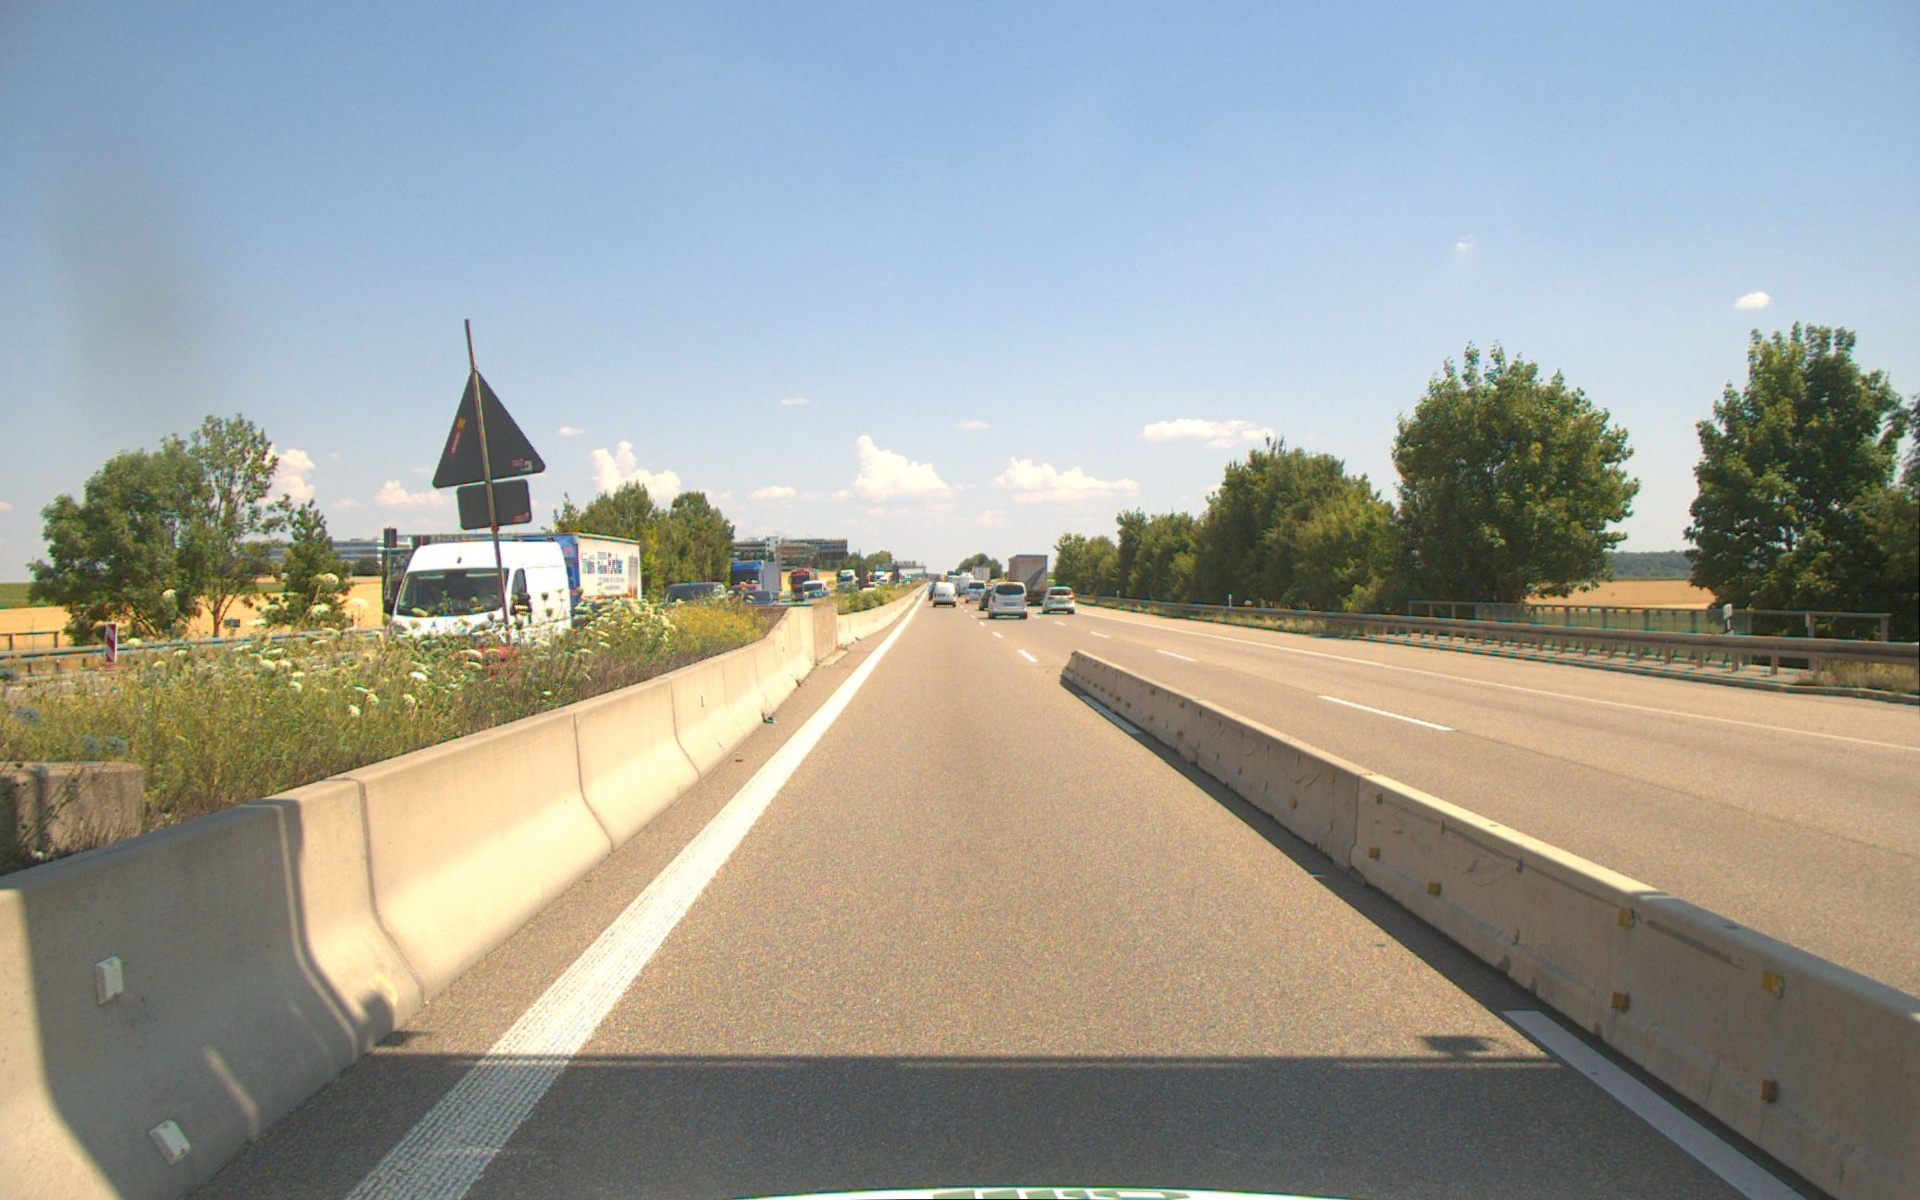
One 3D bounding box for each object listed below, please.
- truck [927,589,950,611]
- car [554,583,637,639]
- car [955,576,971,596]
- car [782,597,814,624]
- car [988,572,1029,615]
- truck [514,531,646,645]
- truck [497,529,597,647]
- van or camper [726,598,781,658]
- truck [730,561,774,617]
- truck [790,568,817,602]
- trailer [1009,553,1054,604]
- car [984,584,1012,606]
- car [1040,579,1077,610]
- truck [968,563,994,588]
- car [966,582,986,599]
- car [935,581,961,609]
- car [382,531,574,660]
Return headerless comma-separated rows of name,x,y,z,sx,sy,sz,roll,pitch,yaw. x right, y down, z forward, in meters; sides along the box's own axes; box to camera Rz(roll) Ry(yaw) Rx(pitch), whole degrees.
truck,-2.125,0.005,165.057,2.167,2.049,4.970,-1,1,-2
car,-11.704,0.316,53.383,1.851,1.683,4.094,-1,1,-2
car,0.351,-1.668,198.195,1.737,2.434,3.999,0,0,-1
car,-10.159,0.659,104.021,1.650,1.593,4.561,-1,1,-2
car,2.472,-0.328,85.638,1.953,2.157,3.999,0,0,-1
truck,-16.224,-0.521,71.868,2.540,4.312,14.119,-3,0,-1
truck,-16.086,-0.464,64.776,2.540,4.312,4.853,-3,0,-1
van or camper,-9.738,1.290,78.427,2.105,2.674,4.396,-1,0,-2
truck,-16.993,-0.894,135.494,2.807,4.426,5.585,-1,0,-1
truck,-18.441,-1.762,194.942,2.798,3.922,3.999,-2,1,-1
trailer,5.930,-1.726,138.686,3.211,4.036,9.110,0,0,-1
car,2.564,-0.325,112.118,1.737,1.472,3.999,0,0,-1
car,6.014,-0.338,100.998,1.953,1.825,3.999,0,0,-1
truck,3.324,-3.856,262.676,3.738,3.973,9.578,-1,0,-1
car,1.406,-0.827,148.910,1.737,1.472,3.999,0,0,-1
car,-0.926,-0.344,125.281,1.953,2.049,3.999,0,0,-1
car,-8.150,-0.085,28.448,1.953,1.980,4.793,-1,0,-2
